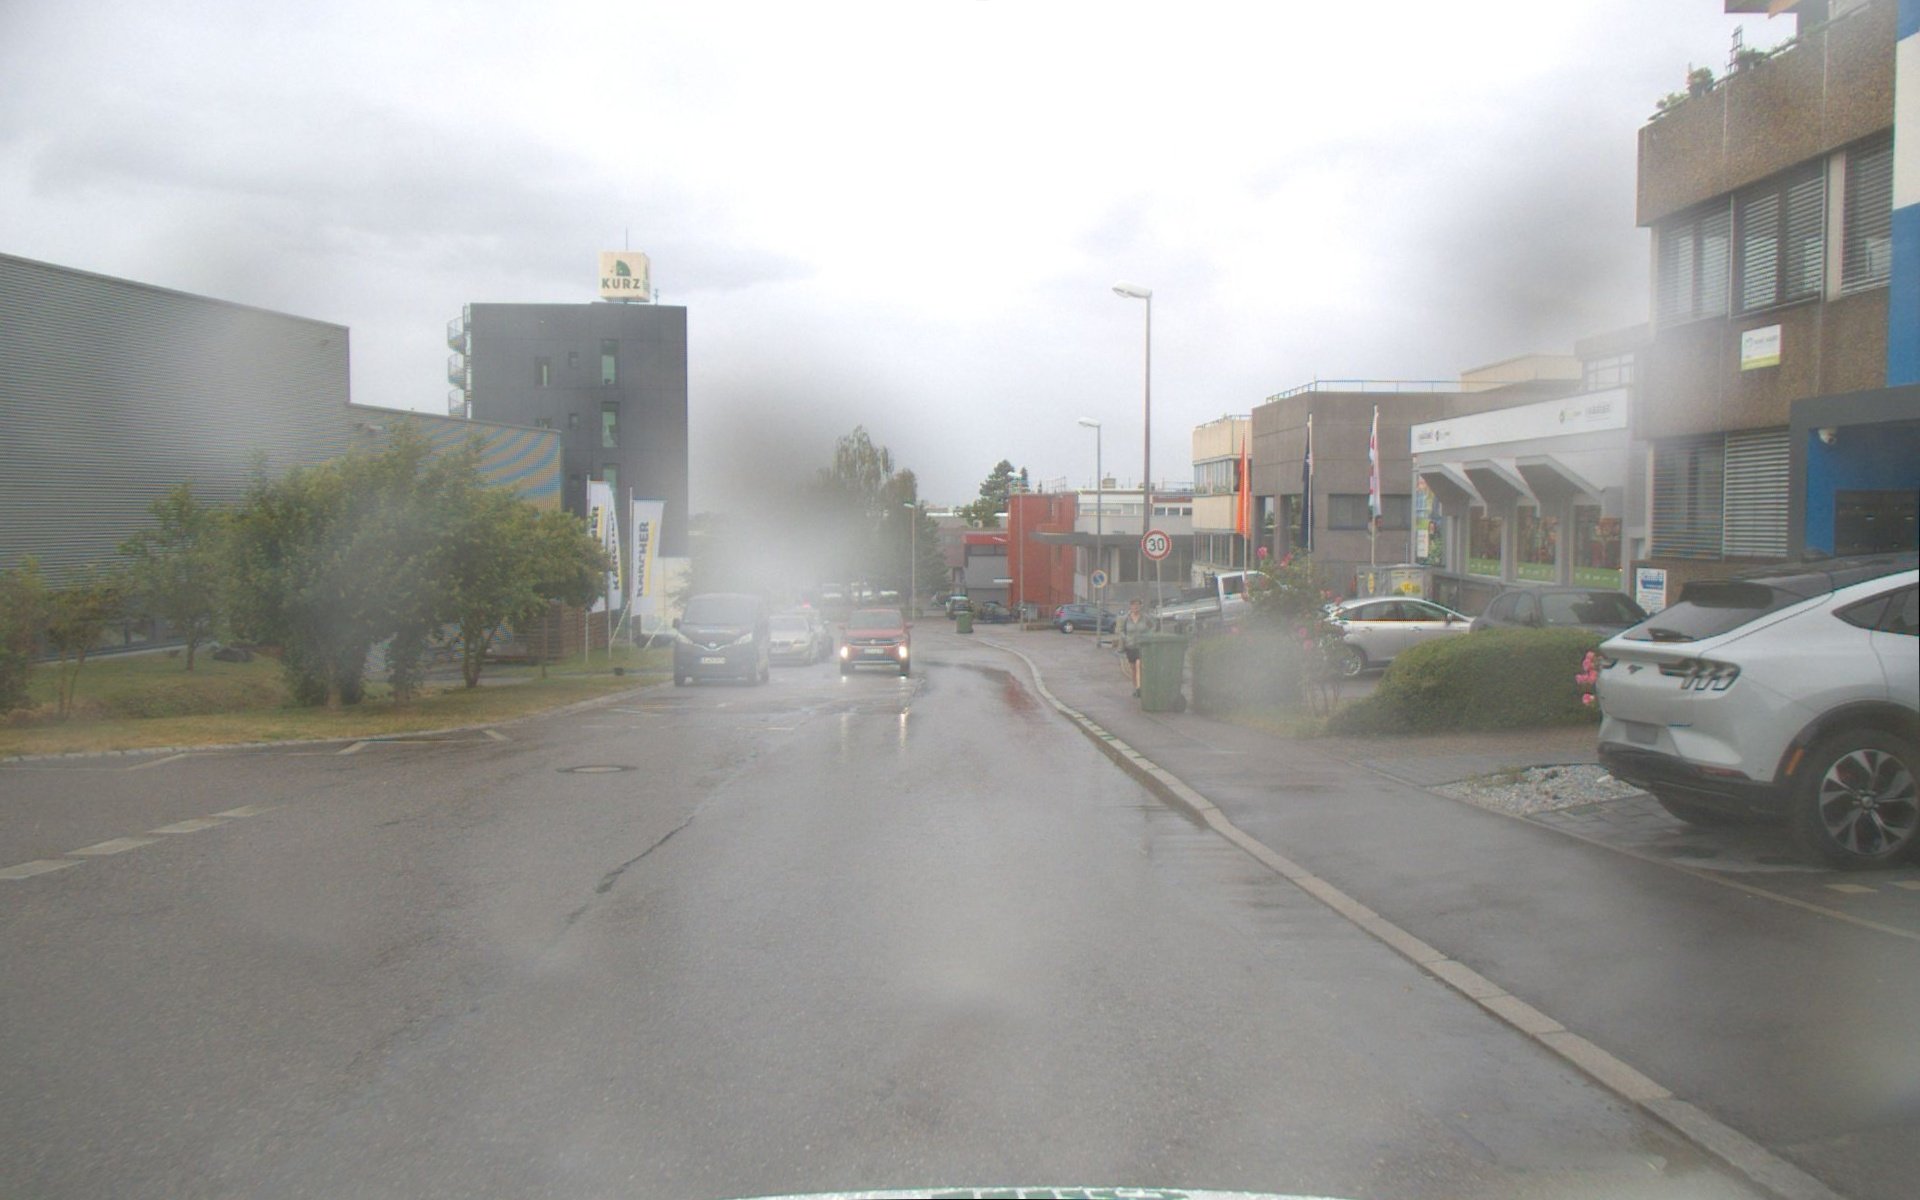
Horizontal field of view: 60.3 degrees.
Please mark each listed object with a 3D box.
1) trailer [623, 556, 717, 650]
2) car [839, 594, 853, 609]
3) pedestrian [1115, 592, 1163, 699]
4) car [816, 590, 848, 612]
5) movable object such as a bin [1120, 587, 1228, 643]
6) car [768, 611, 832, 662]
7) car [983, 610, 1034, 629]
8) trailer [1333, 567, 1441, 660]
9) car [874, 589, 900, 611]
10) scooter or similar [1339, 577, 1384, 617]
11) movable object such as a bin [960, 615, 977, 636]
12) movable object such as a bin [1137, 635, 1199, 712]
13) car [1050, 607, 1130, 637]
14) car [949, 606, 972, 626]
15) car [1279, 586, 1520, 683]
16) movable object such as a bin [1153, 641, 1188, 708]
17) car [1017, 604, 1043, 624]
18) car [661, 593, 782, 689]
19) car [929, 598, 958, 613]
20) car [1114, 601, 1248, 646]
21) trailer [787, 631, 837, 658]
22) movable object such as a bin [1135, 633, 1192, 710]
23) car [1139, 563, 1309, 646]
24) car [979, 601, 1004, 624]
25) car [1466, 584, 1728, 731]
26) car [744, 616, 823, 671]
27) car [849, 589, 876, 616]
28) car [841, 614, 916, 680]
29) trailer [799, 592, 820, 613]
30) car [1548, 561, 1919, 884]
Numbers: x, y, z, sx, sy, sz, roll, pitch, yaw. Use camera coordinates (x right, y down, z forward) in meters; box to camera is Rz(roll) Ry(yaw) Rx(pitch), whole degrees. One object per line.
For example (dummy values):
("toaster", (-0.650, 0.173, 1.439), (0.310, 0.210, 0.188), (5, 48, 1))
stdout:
("trailer", (-13.544, 0.179, 77.193), (4.103, 4.277, 1.998), (-2, -1, 37))
("car", (-11.544, 0.176, 167.108), (1.266, 1.449, 2.541), (-1, -1, -8))
("pedestrian", (3.065, 0.774, 28.377), (0.721, 1.798, 0.808), (0, -1, 0))
("car", (-12.471, 0.097, 161.037), (2.229, 2.049, 3.980), (0, -1, -17))
("movable object such as a bin", (8.723, 0.610, 67.598), (4.168, 2.147, 1.476), (-1, 0, -2))
("car", (-5.331, 1.213, 55.635), (1.918, 1.604, 4.836), (-1, -1, -3))
("car", (3.187, 1.277, 109.296), (3.331, 1.183, 1.791), (0, 0, 0))
("trailer", (11.845, 0.334, 46.166), (1.848, 2.459, 4.308), (-1, 1, 0))
("car", (-7.187, 0.051, 162.673), (2.105, 2.049, 3.931), (-1, -1, -8))
("scooter or similar", (14.015, -0.111, 57.806), (1.043, 1.245, 2.065), (-4, 1, 1))
("movable object such as a bin", (0.420, 1.327, 86.573), (0.791, 1.112, 0.708), (-1, 0, -7))
("movable object such as a bin", (2.897, 1.014, 23.104), (0.756, 1.048, 0.808), (0, 0, 0))
("car", (6.466, 1.115, 82.497), (3.817, 1.408, 1.820), (1, -1, -3))
("car", (0.030, 1.262, 127.002), (1.663, 1.501, 3.998), (-1, -1, -2))
("car", (8.447, 0.661, 32.041), (4.038, 1.601, 2.002), (-3, -1, -3))
("movable object such as a bin", (3.140, 1.109, 24.713), (0.462, 0.984, 0.514), (0, -1, 0))
("car", (5.356, 1.102, 126.897), (1.694, 1.447, 3.998), (-1, -1, -2))
("car", (-4.908, 0.824, 34.628), (1.876, 1.863, 4.847), (0, -1, -1))
("car", (-1.500, 0.476, 149.079), (2.499, 1.375, 1.240), (0, 0, -7))
("car", (8.727, 0.916, 65.583), (4.989, 1.642, 1.924), (-1, 0, -3))
("trailer", (-5.351, 1.606, 60.011), (1.646, 0.904, 3.895), (-1, -1, -3))
("movable object such as a bin", (2.928, 1.028, 23.839), (0.728, 1.085, 0.636), (0, -1, 0))
("car", (8.941, 0.167, 56.434), (5.196, 2.047, 2.221), (-8, -1, -2))
("car", (2.411, 0.979, 127.782), (1.704, 1.682, 3.998), (-1, -1, -2))
("car", (8.508, 0.748, 22.545), (1.713, 1.780, 4.471), (-1, -1, -2))
("car", (-5.198, 1.249, 49.260), (1.916, 1.487, 5.245), (-1, 0, -2))
("car", (-9.537, 0.255, 161.587), (2.153, 2.502, 3.990), (-1, -1, -10))
("car", (-2.046, 1.185, 42.461), (1.712, 1.535, 3.934), (-3, -1, -1))
("trailer", (-15.043, 0.209, 164.940), (1.819, 2.049, 3.991), (0, 0, -9))
("car", (5.980, 0.546, 9.370), (4.505, 1.565, 2.078), (-2, 0, -2))
